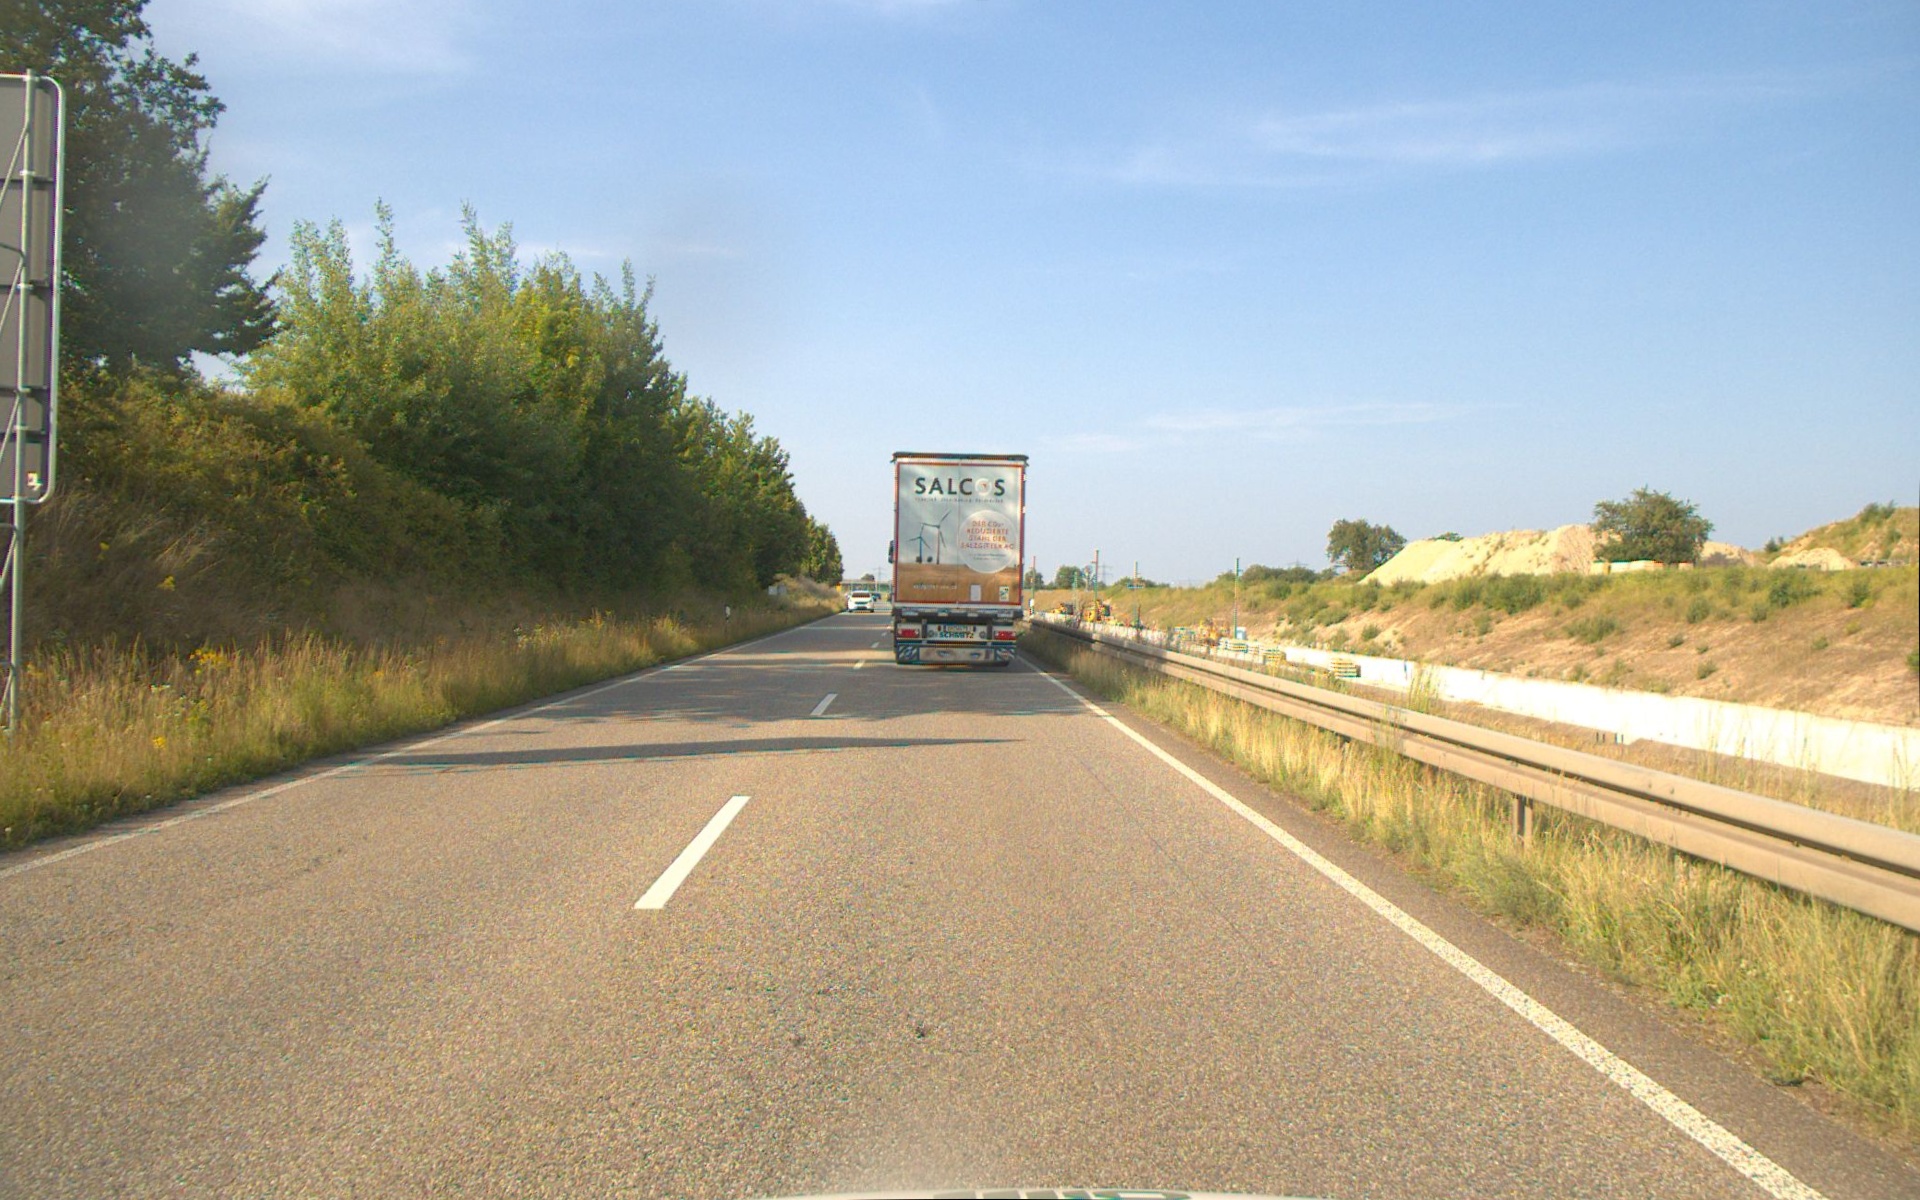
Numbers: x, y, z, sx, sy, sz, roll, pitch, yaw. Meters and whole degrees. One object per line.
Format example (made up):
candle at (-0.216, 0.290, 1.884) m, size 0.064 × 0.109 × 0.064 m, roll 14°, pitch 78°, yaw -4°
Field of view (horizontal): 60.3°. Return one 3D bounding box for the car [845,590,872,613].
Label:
car at (-7.246, 0.088, 118.529) m, size 1.709 × 1.591 × 4.364 m, roll 1°, pitch 0°, yaw -2°

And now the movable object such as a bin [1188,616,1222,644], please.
movable object such as a bin at (24.308, 2.979, 164.200) m, size 2.845 × 2.708 × 2.019 m, roll 1°, pitch 0°, yaw 23°

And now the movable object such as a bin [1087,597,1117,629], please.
movable object such as a bin at (18.092, 1.613, 210.971) m, size 2.741 × 3.954 × 7.533 m, roll 1°, pitch 0°, yaw -3°

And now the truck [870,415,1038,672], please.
truck at (-0.259, -1.067, 35.051) m, size 3.089 × 4.770 × 8.438 m, roll 0°, pitch 0°, yaw -2°
